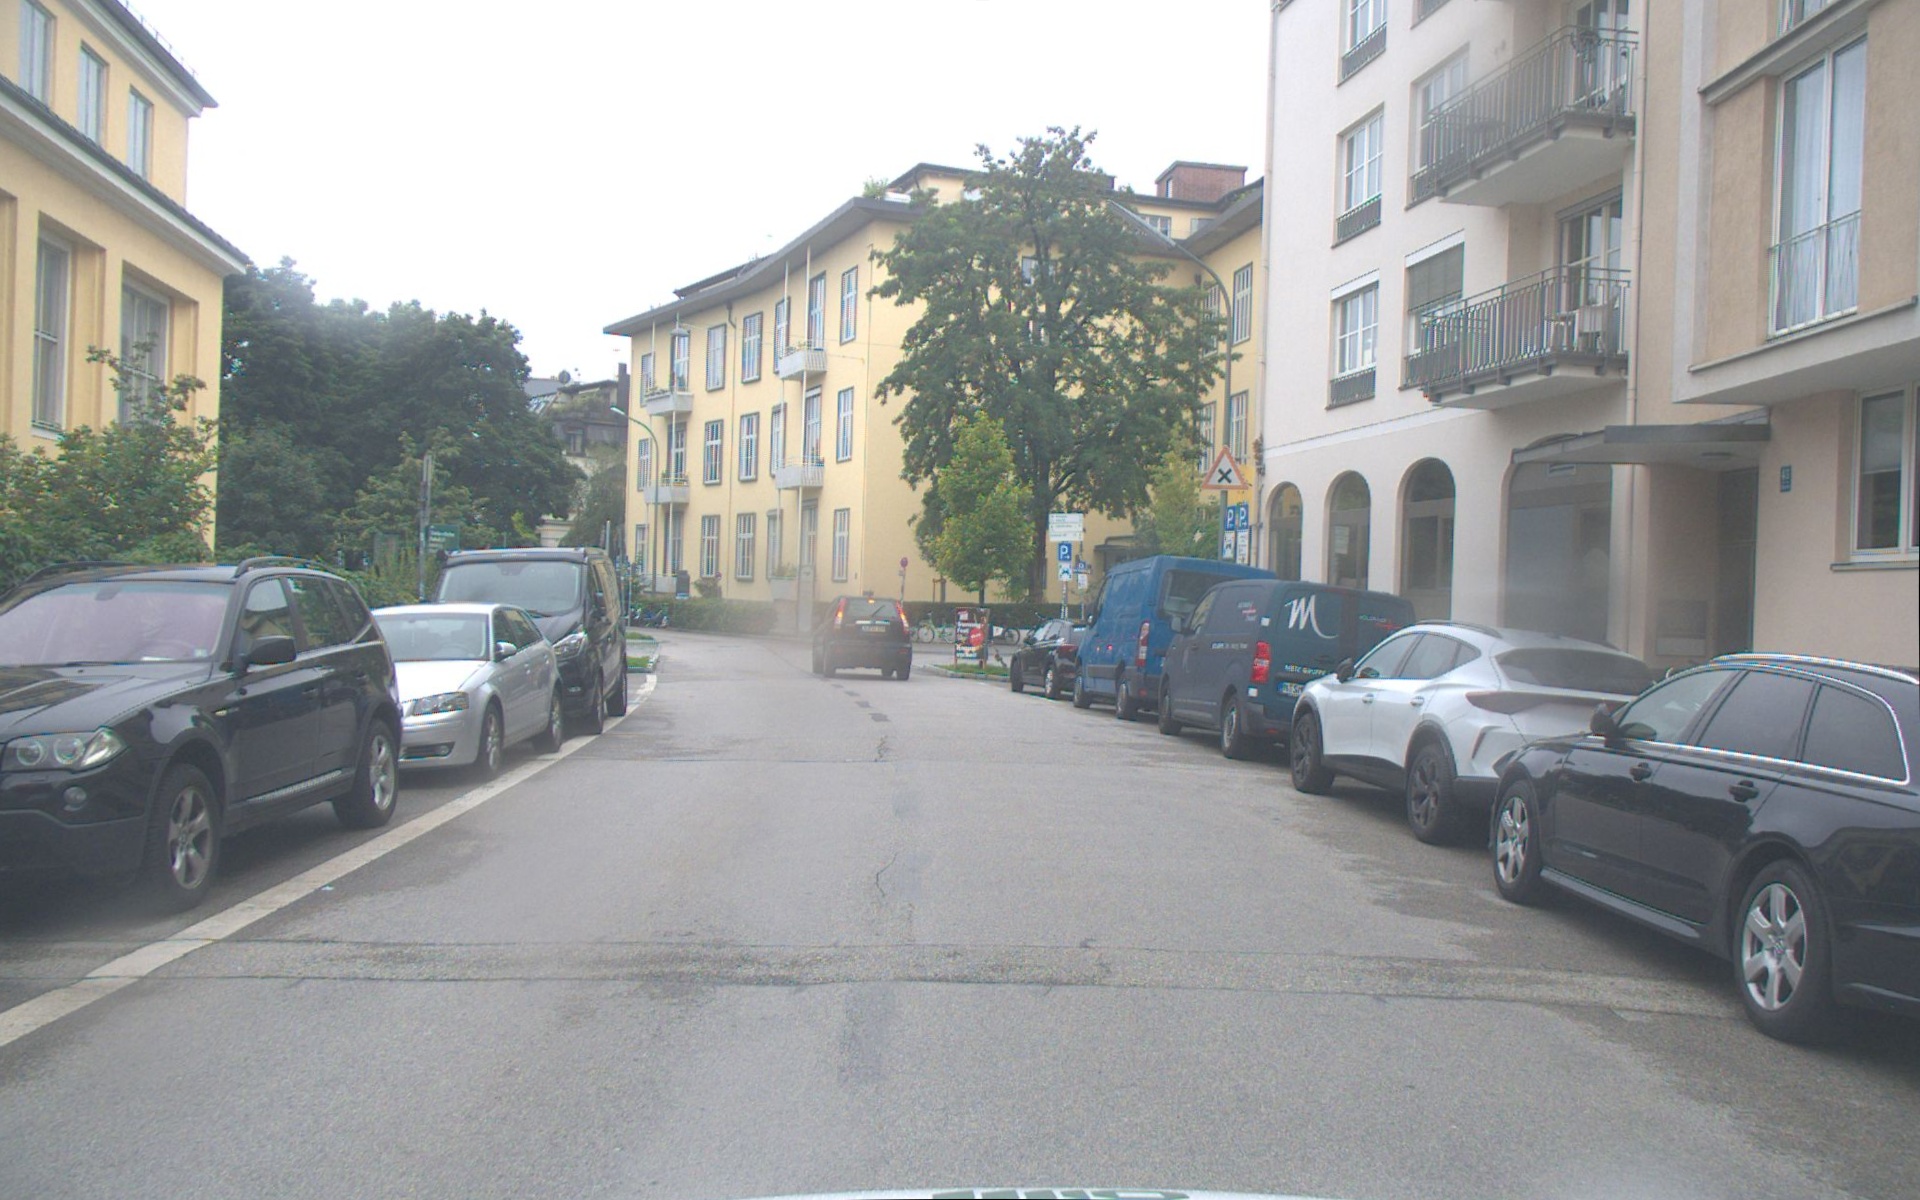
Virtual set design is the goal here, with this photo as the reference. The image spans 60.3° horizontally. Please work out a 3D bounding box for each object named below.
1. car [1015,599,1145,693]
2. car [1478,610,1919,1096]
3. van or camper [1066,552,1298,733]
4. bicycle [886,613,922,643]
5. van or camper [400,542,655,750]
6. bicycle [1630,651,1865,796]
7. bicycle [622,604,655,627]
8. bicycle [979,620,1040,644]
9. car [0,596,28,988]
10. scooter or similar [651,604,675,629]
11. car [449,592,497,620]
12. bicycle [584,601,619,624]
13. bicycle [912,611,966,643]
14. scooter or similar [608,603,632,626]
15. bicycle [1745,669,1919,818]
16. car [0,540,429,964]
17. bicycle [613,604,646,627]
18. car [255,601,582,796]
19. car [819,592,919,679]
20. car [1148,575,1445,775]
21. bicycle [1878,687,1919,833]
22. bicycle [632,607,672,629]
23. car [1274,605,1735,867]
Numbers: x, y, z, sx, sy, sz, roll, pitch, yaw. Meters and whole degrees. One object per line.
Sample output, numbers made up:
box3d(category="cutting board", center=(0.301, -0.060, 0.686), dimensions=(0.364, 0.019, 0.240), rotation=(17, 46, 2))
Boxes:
box3d(category="car", center=(2.159, 0.802, 30.727), dimensions=(1.671, 1.544, 3.953), rotation=(3, 0, -6))
box3d(category="car", center=(3.978, 0.927, 7.454), dimensions=(1.704, 1.524, 4.495), rotation=(7, 0, 0))
box3d(category="van or camper", center=(3.116, 0.554, 24.544), dimensions=(2.021, 2.270, 5.430), rotation=(4, 0, -6))
box3d(category="bicycle", center=(-2.181, 1.067, 64.203), dimensions=(0.600, 1.091, 2.201), rotation=(1, 0, -24))
box3d(category="van or camper", center=(-4.869, 0.457, 19.349), dimensions=(1.921, 2.101, 4.751), rotation=(-1, 0, -3))
box3d(category="bicycle", center=(7.550, 1.150, 16.025), dimensions=(1.123, 1.207, 2.206), rotation=(2, 0, -3))
box3d(category="bicycle", center=(-15.678, 0.747, 80.655), dimensions=(0.564, 1.104, 1.932), rotation=(1, 0, 24))
box3d(category="bicycle", center=(1.829, 1.176, 60.949), dimensions=(2.163, 0.792, 0.611), rotation=(2, 0, 12))
box3d(category="car", center=(-4.374, 0.757, 4.044), dimensions=(1.667, 1.447, 4.424), rotation=(-3, 0, -1))
box3d(category="scooter or similar", center=(-13.890, 0.776, 77.366), dimensions=(0.485, 1.128, 1.410), rotation=(1, 0, 20))
box3d(category="car", center=(-30.099, 0.383, 102.094), dimensions=(1.844, 1.662, 4.239), rotation=(1, 0, -31))
box3d(category="bicycle", center=(-17.843, 0.624, 82.391), dimensions=(0.681, 1.104, 2.340), rotation=(1, 0, 16))
box3d(category="bicycle", center=(-0.790, 1.007, 62.124), dimensions=(2.177, 1.136, 0.607), rotation=(2, 0, 41))
box3d(category="scooter or similar", center=(-16.725, 0.708, 81.451), dimensions=(0.485, 1.107, 1.410), rotation=(1, 0, 20))
box3d(category="bicycle", center=(7.645, 1.214, 14.383), dimensions=(0.528, 1.153, 1.391), rotation=(1, 0, -36))
box3d(category="car", center=(-4.374, 0.632, 9.090), dimensions=(1.587, 1.760, 4.423), rotation=(-1, 0, -2))
box3d(category="bicycle", center=(-16.227, 0.749, 81.153), dimensions=(0.564, 1.104, 1.932), rotation=(1, 0, 24))
box3d(category="car", center=(-4.486, 0.730, 14.315), dimensions=(1.587, 1.402, 4.070), rotation=(-1, 0, -2))
box3d(category="car", center=(-1.998, 0.704, 35.225), dimensions=(1.956, 1.724, 4.375), rotation=(1, 0, -5))
box3d(category="car", center=(3.612, 0.741, 18.799), dimensions=(1.926, 1.848, 4.931), rotation=(4, 0, -5))
box3d(category="bicycle", center=(7.306, 1.202, 12.290), dimensions=(0.414, 1.041, 1.199), rotation=(0, 0, 6))
box3d(category="bicycle", center=(-14.612, 0.843, 78.575), dimensions=(1.808, 1.023, 0.570), rotation=(1, 0, -36))
box3d(category="car", center=(3.969, 0.898, 12.896), dimensions=(1.706, 1.564, 4.267), rotation=(5, 0, -6))
